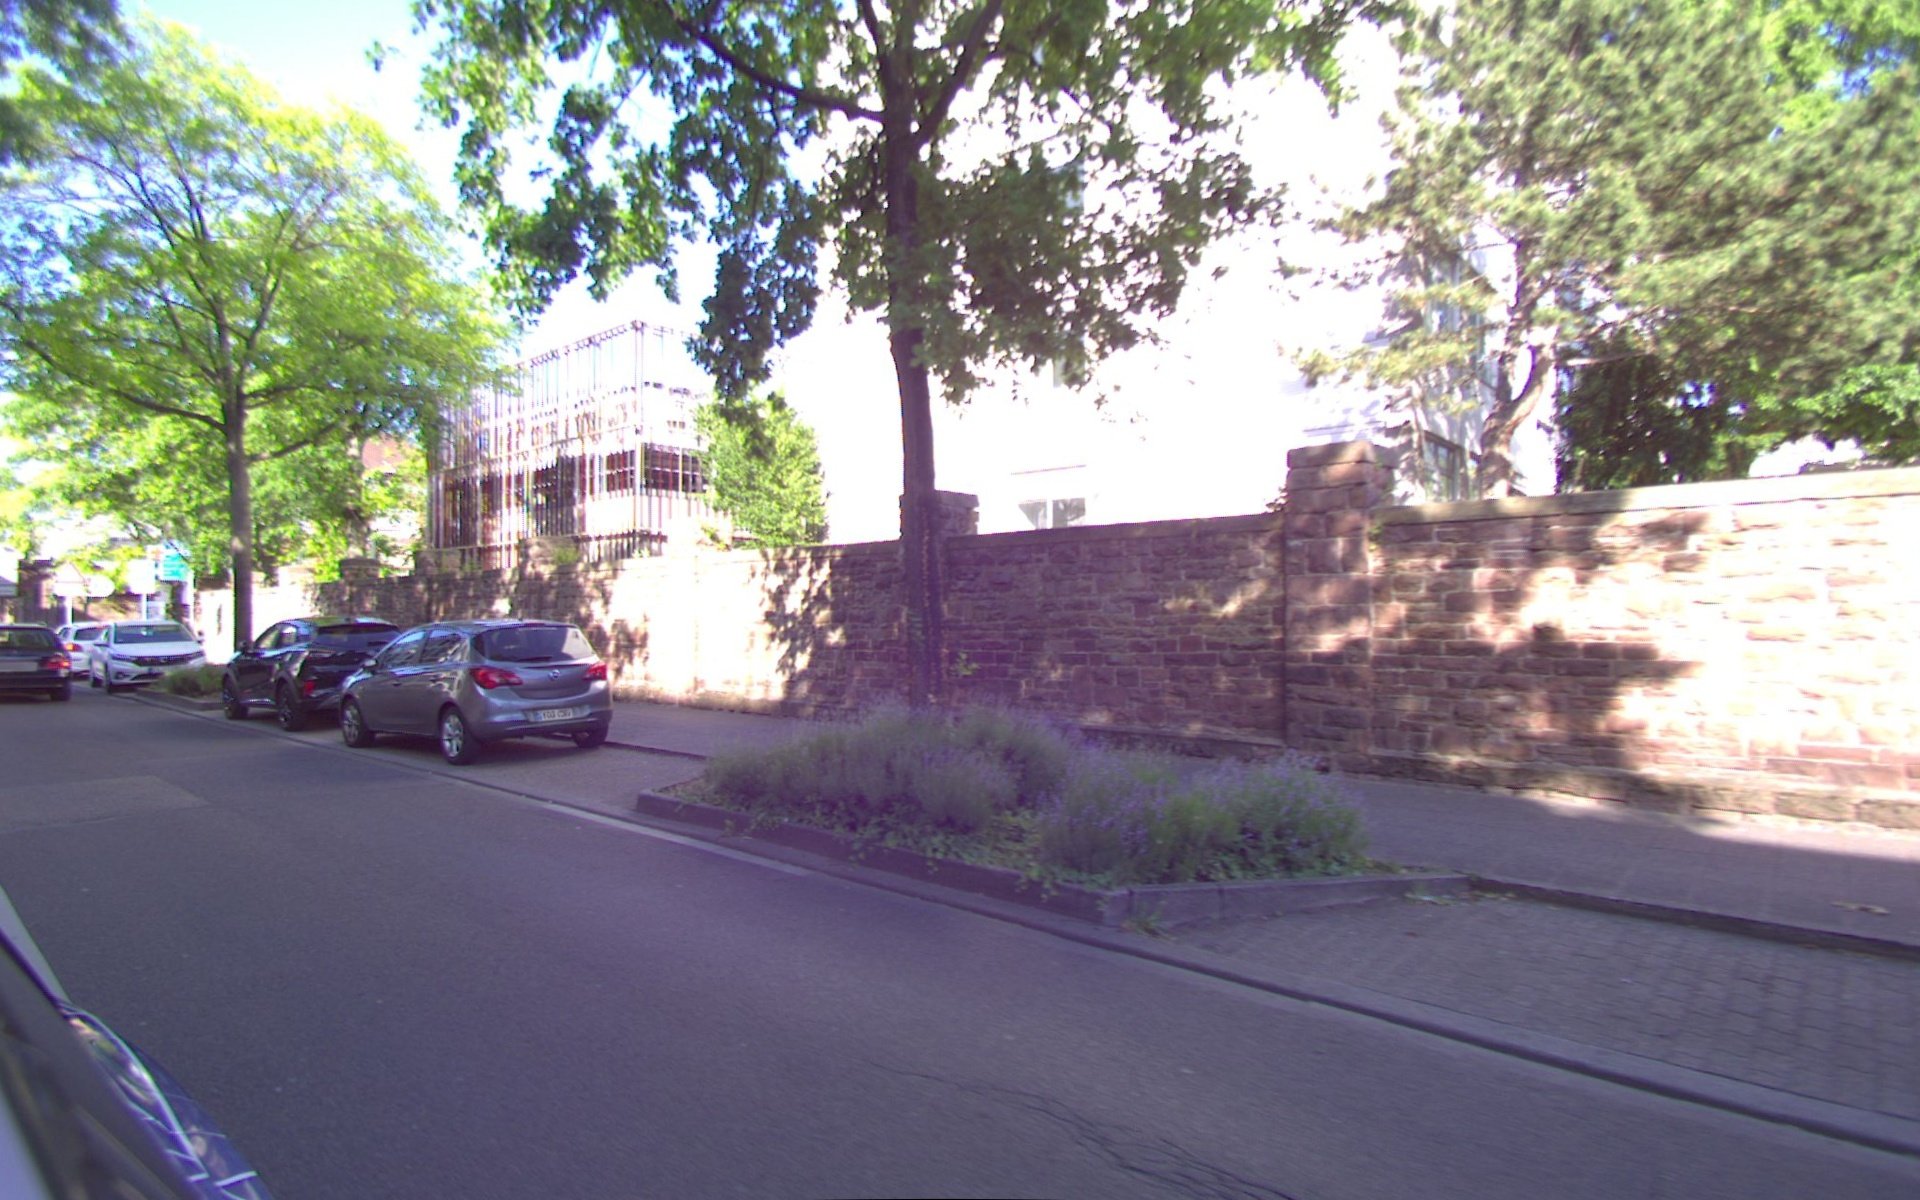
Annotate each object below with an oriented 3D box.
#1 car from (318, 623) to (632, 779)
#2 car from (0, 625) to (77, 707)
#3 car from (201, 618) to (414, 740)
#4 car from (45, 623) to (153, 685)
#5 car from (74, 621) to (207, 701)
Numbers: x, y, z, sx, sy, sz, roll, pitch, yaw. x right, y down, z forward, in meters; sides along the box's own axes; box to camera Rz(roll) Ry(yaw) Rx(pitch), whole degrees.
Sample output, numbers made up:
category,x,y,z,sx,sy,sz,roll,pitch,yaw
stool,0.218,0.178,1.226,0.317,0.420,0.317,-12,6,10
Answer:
category,x,y,z,sx,sy,sz,roll,pitch,yaw
car,-5.631,1.017,11.584,3.832,1.432,1.671,-1,0,37
car,-18.326,1.204,19.238,3.968,1.447,1.802,-2,-4,42
car,-9.646,1.053,14.846,4.042,1.526,1.557,-1,-1,41
car,-22.856,1.390,26.828,3.748,1.412,1.558,-1,2,41
car,-18.267,1.293,22.510,3.848,1.522,1.659,-1,2,42
